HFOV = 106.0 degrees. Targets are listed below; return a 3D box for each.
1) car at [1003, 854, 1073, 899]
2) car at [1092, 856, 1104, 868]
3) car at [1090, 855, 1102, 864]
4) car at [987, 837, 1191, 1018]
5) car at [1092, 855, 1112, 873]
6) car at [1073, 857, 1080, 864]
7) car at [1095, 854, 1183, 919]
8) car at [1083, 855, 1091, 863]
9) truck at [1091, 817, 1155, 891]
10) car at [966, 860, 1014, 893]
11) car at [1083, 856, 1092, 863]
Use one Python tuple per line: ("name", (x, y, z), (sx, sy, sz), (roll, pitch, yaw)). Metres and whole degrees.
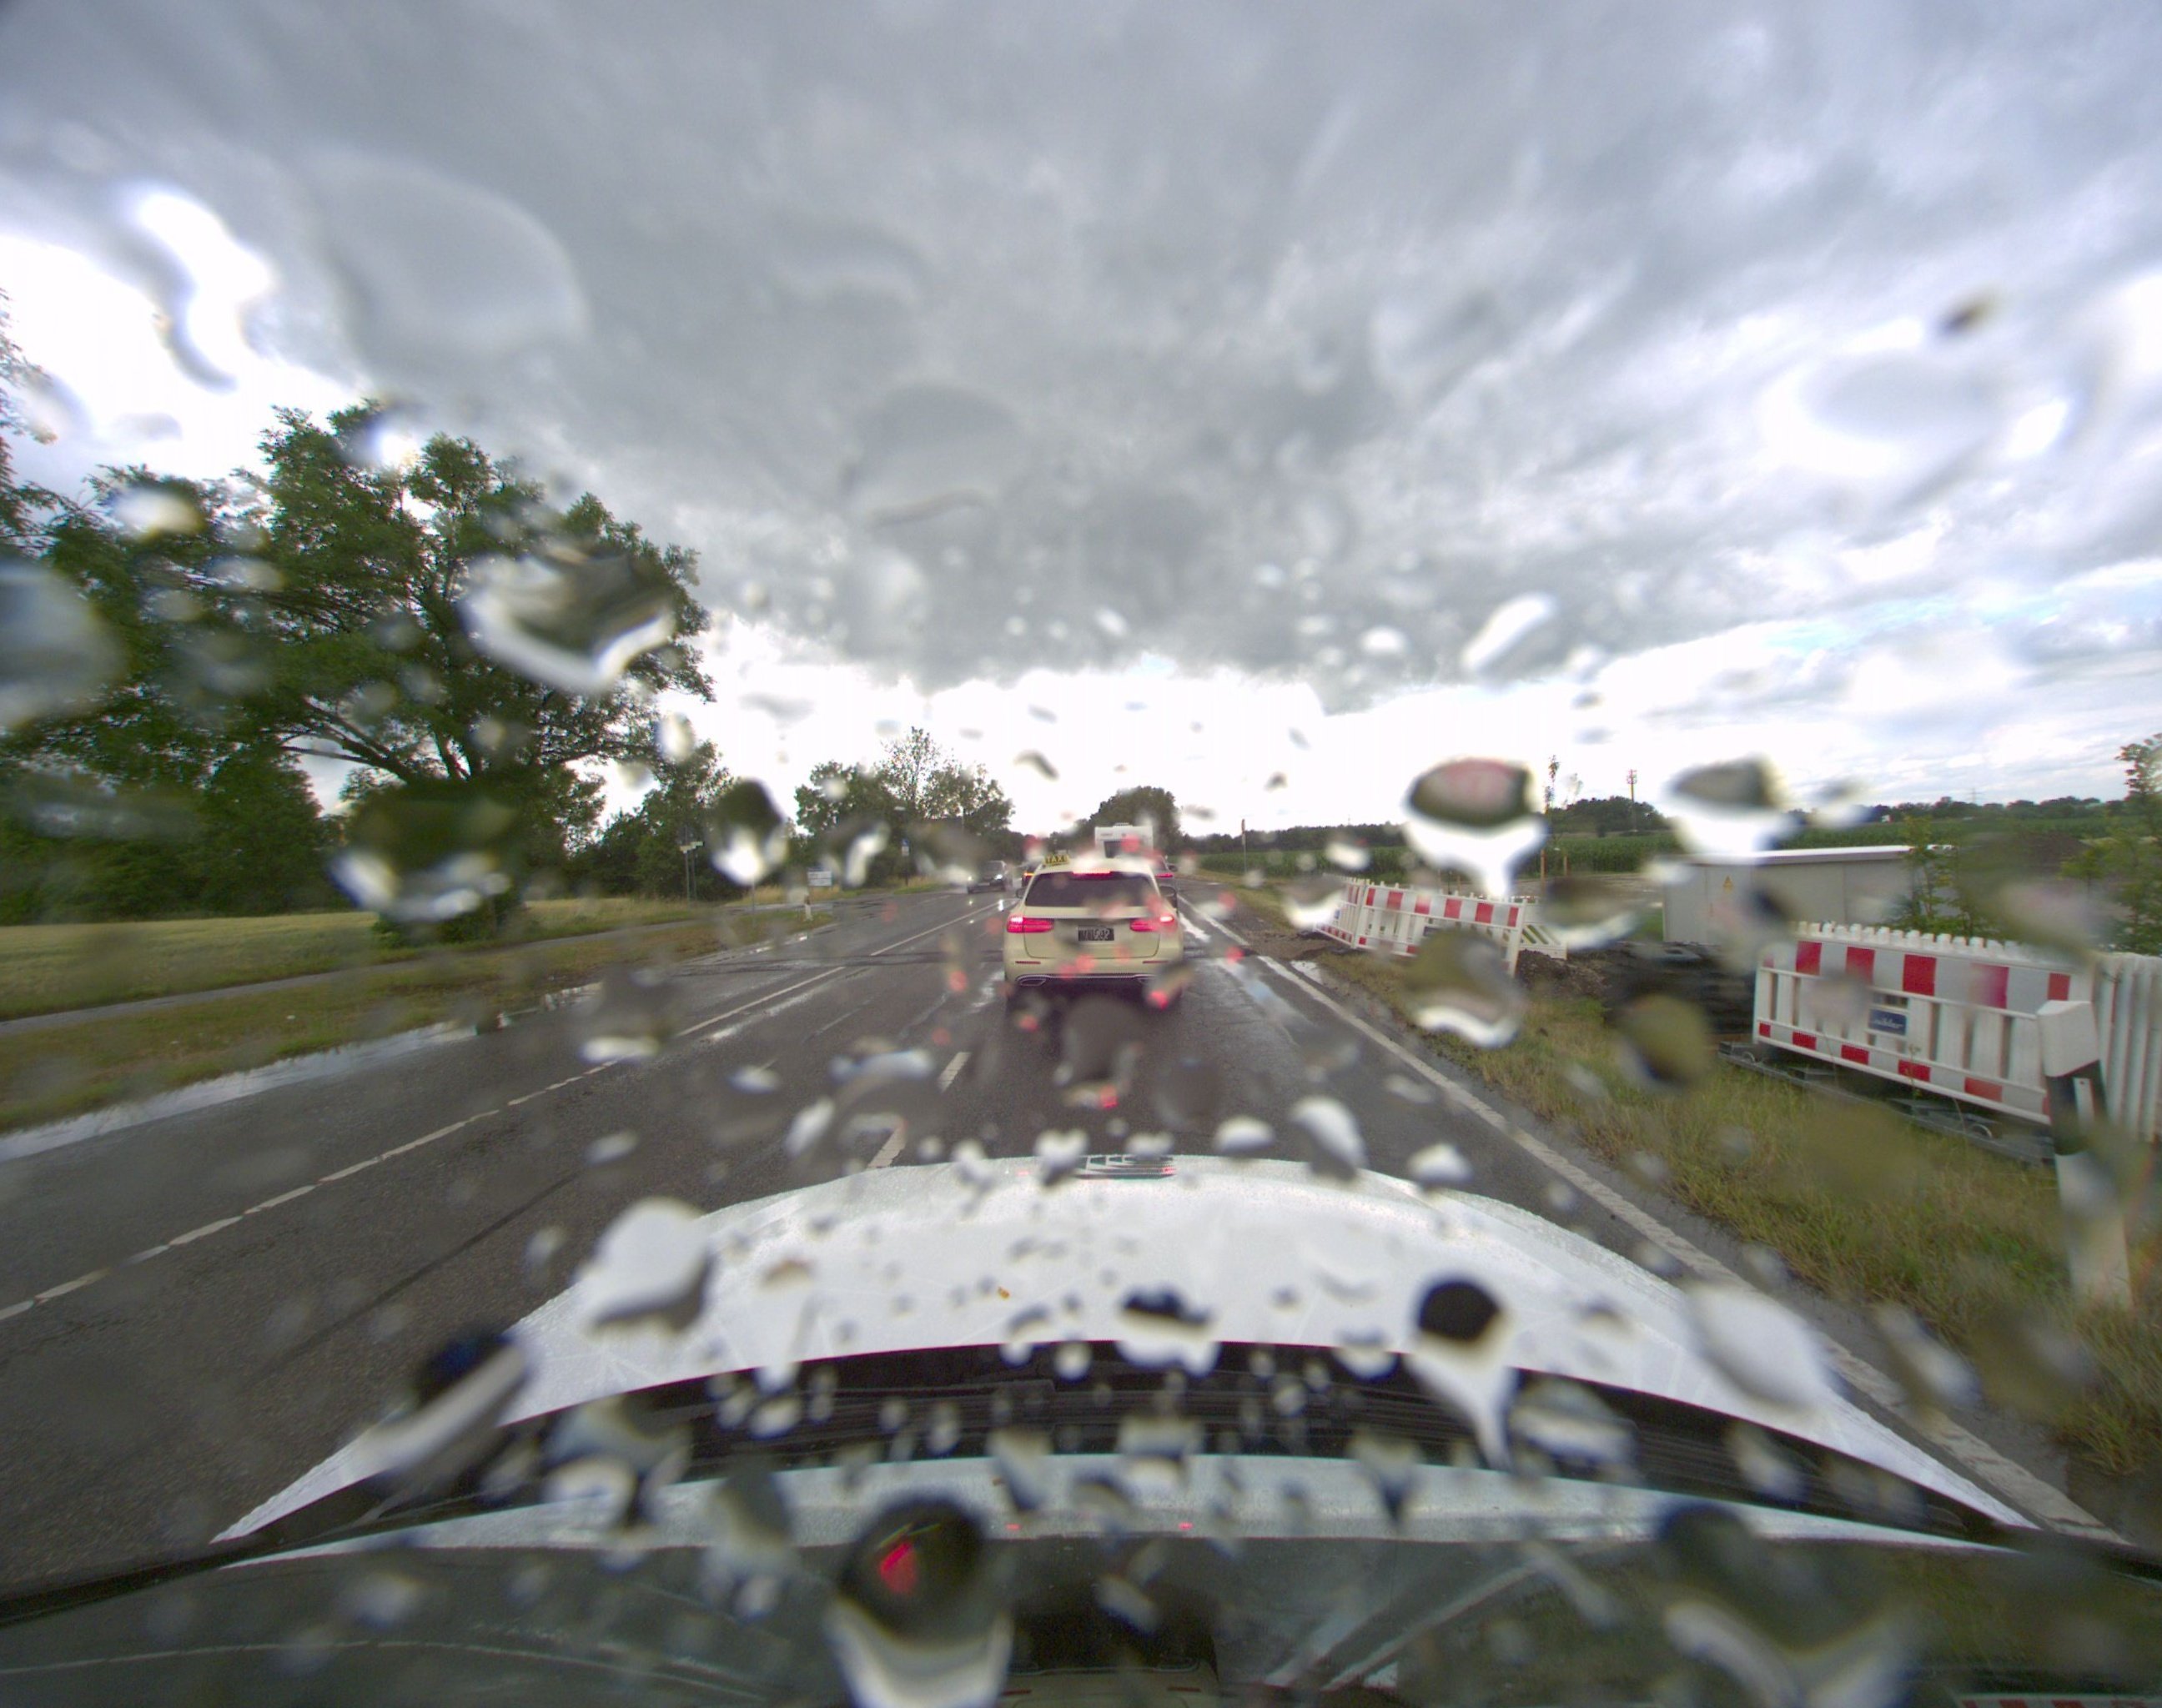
("car", (-1.548, 0.813, 31.224), (2.293, 1.547, 4.634), (0, 0, 2))
("car", (2.682, 1.205, 129.535), (1.784, 1.777, 3.722), (-2, 0, 2))
("car", (2.826, 1.039, 157.124), (1.988, 1.772, 3.997), (-2, 0, -2))
("car", (0.132, 0.675, 9.423), (1.836, 1.618, 4.001), (-1, 0, 2))
("car", (2.197, 1.032, 85.513), (1.907, 1.841, 3.799), (-2, 0, 4))
("car", (-1.481, 1.999, 247.232), (1.888, 1.839, 3.883), (-2, 0, 2))
("car", (1.389, 0.745, 20.501), (1.986, 1.462, 4.001), (0, 0, 2))
("car", (1.477, 1.232, 210.577), (1.890, 1.895, 3.841), (-3, 0, -1))
("truck", (1.739, 0.007, 35.029), (2.355, 2.729, 7.317), (-3, 0, 2))
("car", (-4.308, 1.043, 39.153), (1.713, 1.404, 4.044), (-4, 0, 1))
("car", (1.586, 1.415, 197.578), (1.744, 1.662, 3.669), (-2, 0, -2))
